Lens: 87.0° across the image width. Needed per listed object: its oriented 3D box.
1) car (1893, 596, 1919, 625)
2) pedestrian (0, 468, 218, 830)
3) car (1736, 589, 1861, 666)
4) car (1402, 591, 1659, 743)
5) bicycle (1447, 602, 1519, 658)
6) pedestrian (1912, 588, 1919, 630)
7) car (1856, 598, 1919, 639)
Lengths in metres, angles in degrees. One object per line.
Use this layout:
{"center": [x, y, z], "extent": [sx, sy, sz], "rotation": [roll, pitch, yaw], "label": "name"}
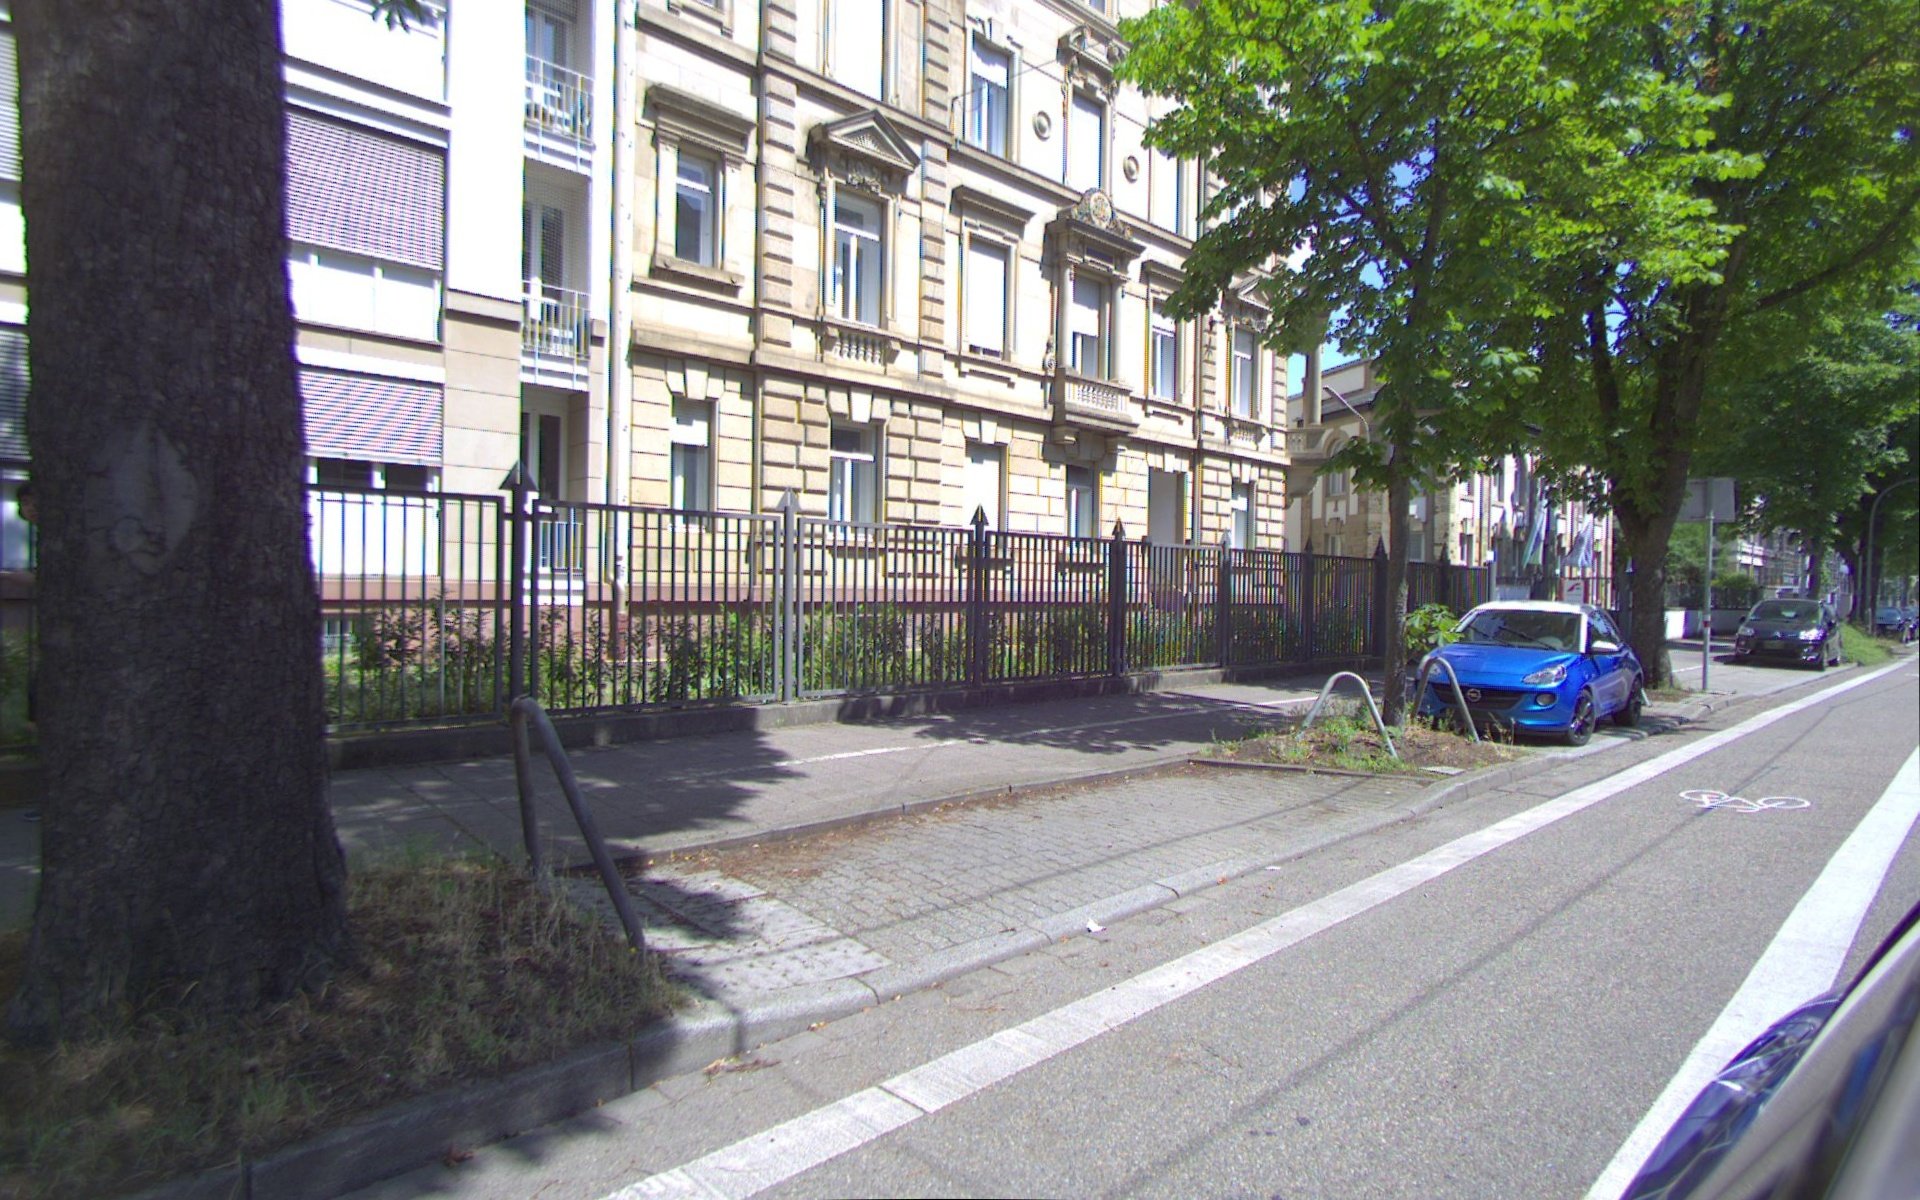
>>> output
{"center": [49.609, 0.540, 52.351], "extent": [3.932, 1.420, 1.624], "rotation": [0, 3, -43], "label": "car"}
{"center": [-4.796, 0.240, 5.572], "extent": [1.065, 1.820, 0.685], "rotation": [0, 1, -43], "label": "pedestrian"}
{"center": [20.341, 0.606, 24.502], "extent": [4.014, 1.636, 1.733], "rotation": [0, 3, -43], "label": "car"}
{"center": [6.748, 0.658, 11.839], "extent": [3.416, 1.471, 1.693], "rotation": [0, 1, -44], "label": "car"}
{"center": [10.729, 0.589, 20.733], "extent": [1.946, 1.084, 0.609], "rotation": [0, 1, -41], "label": "bicycle"}
{"center": [43.703, 0.422, 45.763], "extent": [0.724, 1.873, 0.648], "rotation": [1, 0, -16], "label": "pedestrian"}
{"center": [35.971, 0.687, 39.110], "extent": [3.758, 1.420, 1.624], "rotation": [0, 3, -43], "label": "car"}
